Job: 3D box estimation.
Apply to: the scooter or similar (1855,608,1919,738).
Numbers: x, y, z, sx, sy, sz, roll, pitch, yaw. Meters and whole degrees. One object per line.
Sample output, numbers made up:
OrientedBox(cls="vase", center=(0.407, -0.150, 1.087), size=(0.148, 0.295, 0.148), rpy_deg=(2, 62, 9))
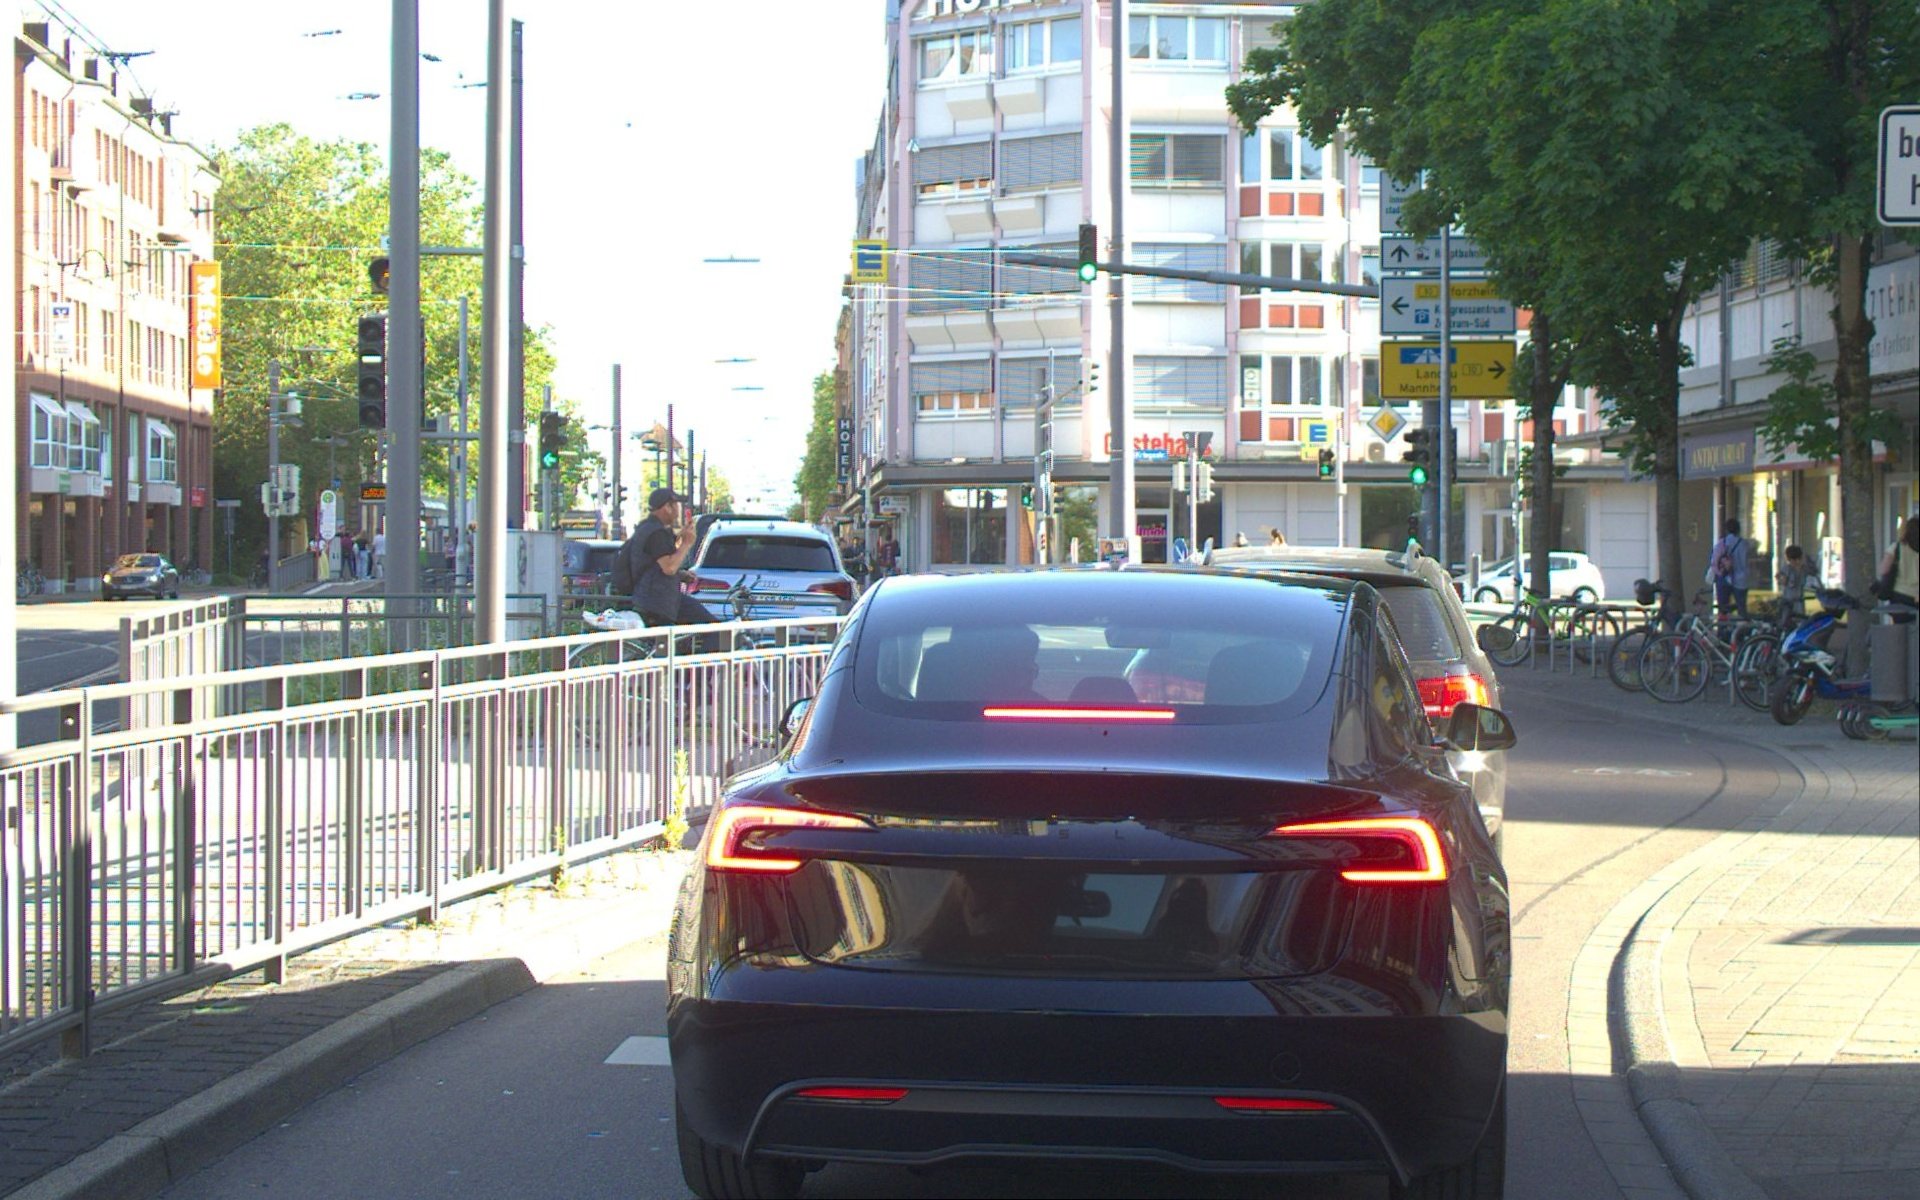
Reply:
OrientedBox(cls="scooter or similar", center=(7.615, 0.580, 27.314), size=(0.964, 1.023, 0.160), rpy_deg=(0, 1, 3))

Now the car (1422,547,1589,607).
OrientedBox(cls="car", center=(13.704, -0.573, 86.480), size=(3.840, 1.427, 1.804), rpy_deg=(0, -1, -5))

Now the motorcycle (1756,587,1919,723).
OrientedBox(cls="motorcycle", center=(7.729, 0.464, 29.242), size=(1.787, 1.126, 0.504), rpy_deg=(1, 0, -3))

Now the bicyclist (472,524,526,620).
OrientedBox(cls="bicyclist", center=(-8.612, -0.524, 64.176), size=(0.612, 1.765, 0.830), rpy_deg=(0, 1, -43))

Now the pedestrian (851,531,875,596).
OrientedBox(cls="pedestrian", center=(-2.681, -1.012, 94.910), size=(0.626, 1.776, 0.918), rpy_deg=(1, 0, -2))

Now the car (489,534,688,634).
OrientedBox(cls="car", center=(-5.989, -0.275, 55.183), size=(1.725, 1.546, 3.473), rpy_deg=(0, 1, -34))

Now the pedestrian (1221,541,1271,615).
OrientedBox(cls="pedestrian", center=(6.223, -0.490, 74.862), size=(0.779, 1.571, 0.868), rpy_deg=(1, 2, -15))

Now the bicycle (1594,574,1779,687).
OrientedBox(cls="bicycle", center=(7.474, 0.313, 35.382), size=(1.809, 1.147, 0.435), rpy_deg=(0, 0, -4))

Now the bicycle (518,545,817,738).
OrientedBox(cls="bicycle", center=(-1.884, 0.260, 22.268), size=(1.820, 1.207, 0.642), rpy_deg=(0, 1, -31))

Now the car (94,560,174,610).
OrientedBox(cls="car", center=(-24.978, -0.471, 104.050), size=(1.817, 1.449, 3.978), rpy_deg=(-1, 1, -6))

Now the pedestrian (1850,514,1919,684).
OrientedBox(cls="pedestrian", center=(9.600, -0.011, 34.966), size=(0.843, 1.701, 0.880), rpy_deg=(1, 0, -1))

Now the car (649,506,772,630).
OrientedBox(cls="car", center=(-3.450, -0.444, 47.064), size=(1.572, 1.612, 3.784), rpy_deg=(1, 1, -6))

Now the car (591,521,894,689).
OrientedBox(cls="car", center=(-2.277, 0.029, 35.169), size=(1.839, 1.629, 3.486), rpy_deg=(1, 1, -27))

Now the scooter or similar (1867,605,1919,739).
OrientedBox(cls="scooter or similar", center=(7.604, 0.563, 26.915), size=(0.964, 1.039, 0.160), rpy_deg=(0, 1, 3))

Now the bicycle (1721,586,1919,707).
OrientedBox(cls="bicycle", center=(7.897, 0.420, 31.345), size=(1.849, 1.052, 0.399), rpy_deg=(-1, 1, -11))

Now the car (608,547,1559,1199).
OrientedBox(cls="car", center=(0.329, 0.627, 8.512), size=(1.790, 1.446, 3.939), rpy_deg=(1, 2, 3))

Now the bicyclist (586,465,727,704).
OrientedBox(cls="bicyclist", center=(-1.964, -0.100, 22.218), size=(0.681, 1.518, 0.635), rpy_deg=(1, 0, -31))

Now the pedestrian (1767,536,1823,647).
OrientedBox(cls="pedestrian", center=(10.747, -0.111, 44.244), size=(0.645, 1.417, 0.621), rpy_deg=(1, 0, 11))

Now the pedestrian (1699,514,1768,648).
OrientedBox(cls="pedestrian", center=(10.053, -0.245, 44.687), size=(0.843, 1.715, 0.879), rpy_deg=(1, 0, 12))

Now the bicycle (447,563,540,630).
OrientedBox(cls="bicycle", center=(-8.728, -0.071, 64.290), size=(0.627, 1.219, 2.040), rpy_deg=(0, 1, -44))

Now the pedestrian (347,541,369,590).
OrientedBox(cls="pedestrian", center=(-19.108, -1.102, 109.134), size=(0.583, 1.525, 0.638), rpy_deg=(1, 0, -18))

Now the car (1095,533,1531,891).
OrientedBox(cls="car", center=(1.613, 0.413, 16.402), size=(1.765, 1.439, 4.528), rpy_deg=(1, 1, 4))

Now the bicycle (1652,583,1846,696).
OrientedBox(cls="bicycle", center=(7.645, 0.379, 33.347), size=(1.767, 1.053, 0.458), rpy_deg=(1, 0, 5))

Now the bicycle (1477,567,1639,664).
OrientedBox(cls="bicycle", center=(7.369, 0.189, 42.385), size=(1.890, 1.152, 0.480), rpy_deg=(-1, 0, 0))

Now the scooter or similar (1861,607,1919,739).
OrientedBox(cls="scooter or similar", center=(7.610, 0.573, 27.113), size=(0.956, 1.035, 0.160), rpy_deg=(0, 1, 3))

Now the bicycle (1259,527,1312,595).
OrientedBox(cls="bicycle", center=(7.116, -0.860, 75.205), size=(0.582, 1.458, 1.686), rpy_deg=(0, 1, -16))
